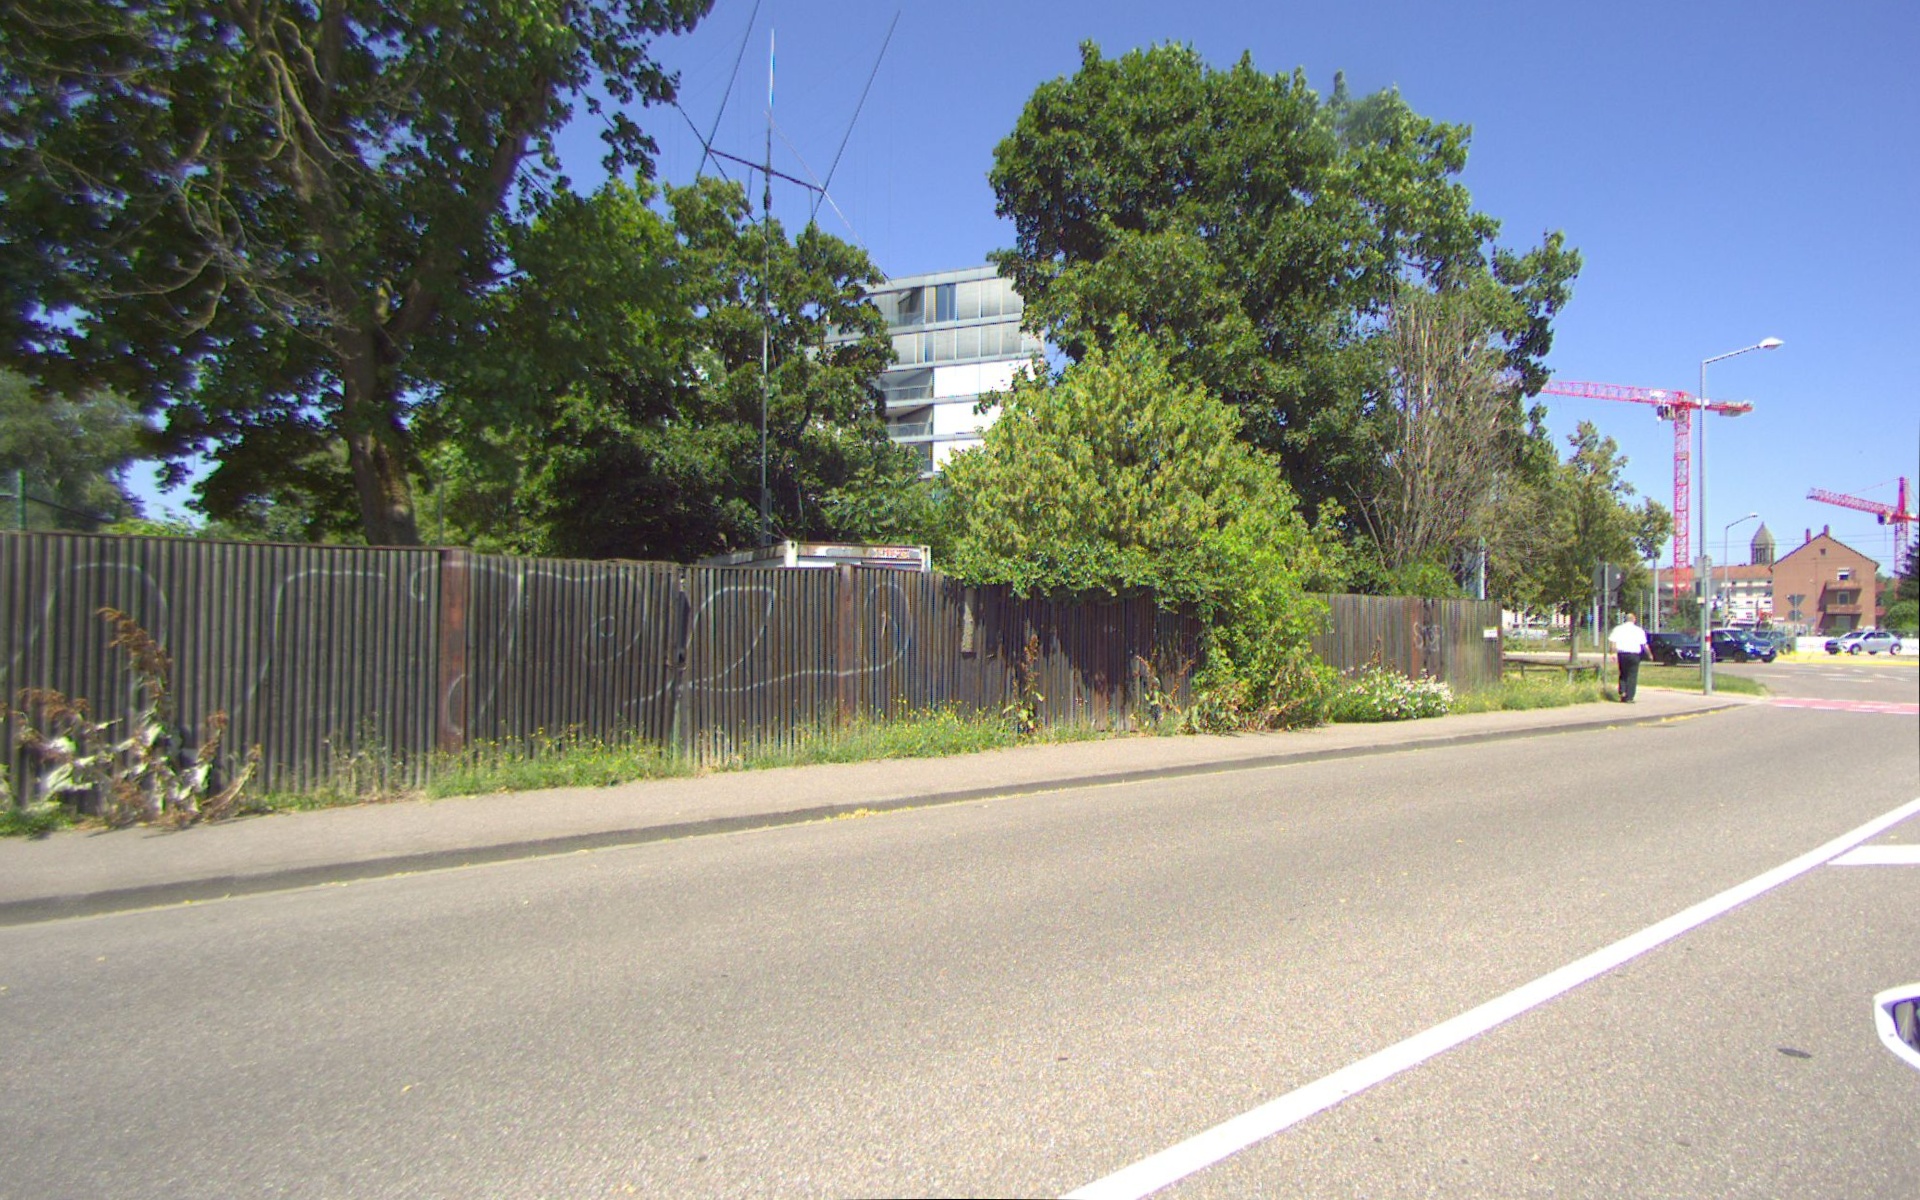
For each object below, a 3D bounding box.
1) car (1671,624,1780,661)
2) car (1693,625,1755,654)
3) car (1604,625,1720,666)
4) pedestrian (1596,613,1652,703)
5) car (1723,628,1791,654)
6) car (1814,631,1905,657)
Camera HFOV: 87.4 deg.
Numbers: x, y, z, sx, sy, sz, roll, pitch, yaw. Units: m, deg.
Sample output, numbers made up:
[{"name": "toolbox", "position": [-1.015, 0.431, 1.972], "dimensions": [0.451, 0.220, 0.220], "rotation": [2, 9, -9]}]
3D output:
[{"name": "car", "position": [36.455, 1.998, 47.978], "dimensions": [1.697, 1.572, 3.991], "rotation": [2, 0, -11]}, {"name": "car", "position": [42.206, 2.145, 55.458], "dimensions": [3.837, 1.547, 1.763], "rotation": [1, -2, -37]}, {"name": "car", "position": [30.706, 1.956, 44.085], "dimensions": [1.699, 1.572, 3.987], "rotation": [2, 0, -15]}, {"name": "pedestrian", "position": [13.781, 1.183, 20.858], "dimensions": [0.960, 1.810, 0.631], "rotation": [2, 0, -36]}, {"name": "car", "position": [46.735, 2.403, 58.873], "dimensions": [4.282, 1.390, 1.737], "rotation": [2, 0, -31]}, {"name": "car", "position": [55.789, 2.695, 62.338], "dimensions": [4.188, 1.421, 1.732], "rotation": [2, 0, -3]}]
